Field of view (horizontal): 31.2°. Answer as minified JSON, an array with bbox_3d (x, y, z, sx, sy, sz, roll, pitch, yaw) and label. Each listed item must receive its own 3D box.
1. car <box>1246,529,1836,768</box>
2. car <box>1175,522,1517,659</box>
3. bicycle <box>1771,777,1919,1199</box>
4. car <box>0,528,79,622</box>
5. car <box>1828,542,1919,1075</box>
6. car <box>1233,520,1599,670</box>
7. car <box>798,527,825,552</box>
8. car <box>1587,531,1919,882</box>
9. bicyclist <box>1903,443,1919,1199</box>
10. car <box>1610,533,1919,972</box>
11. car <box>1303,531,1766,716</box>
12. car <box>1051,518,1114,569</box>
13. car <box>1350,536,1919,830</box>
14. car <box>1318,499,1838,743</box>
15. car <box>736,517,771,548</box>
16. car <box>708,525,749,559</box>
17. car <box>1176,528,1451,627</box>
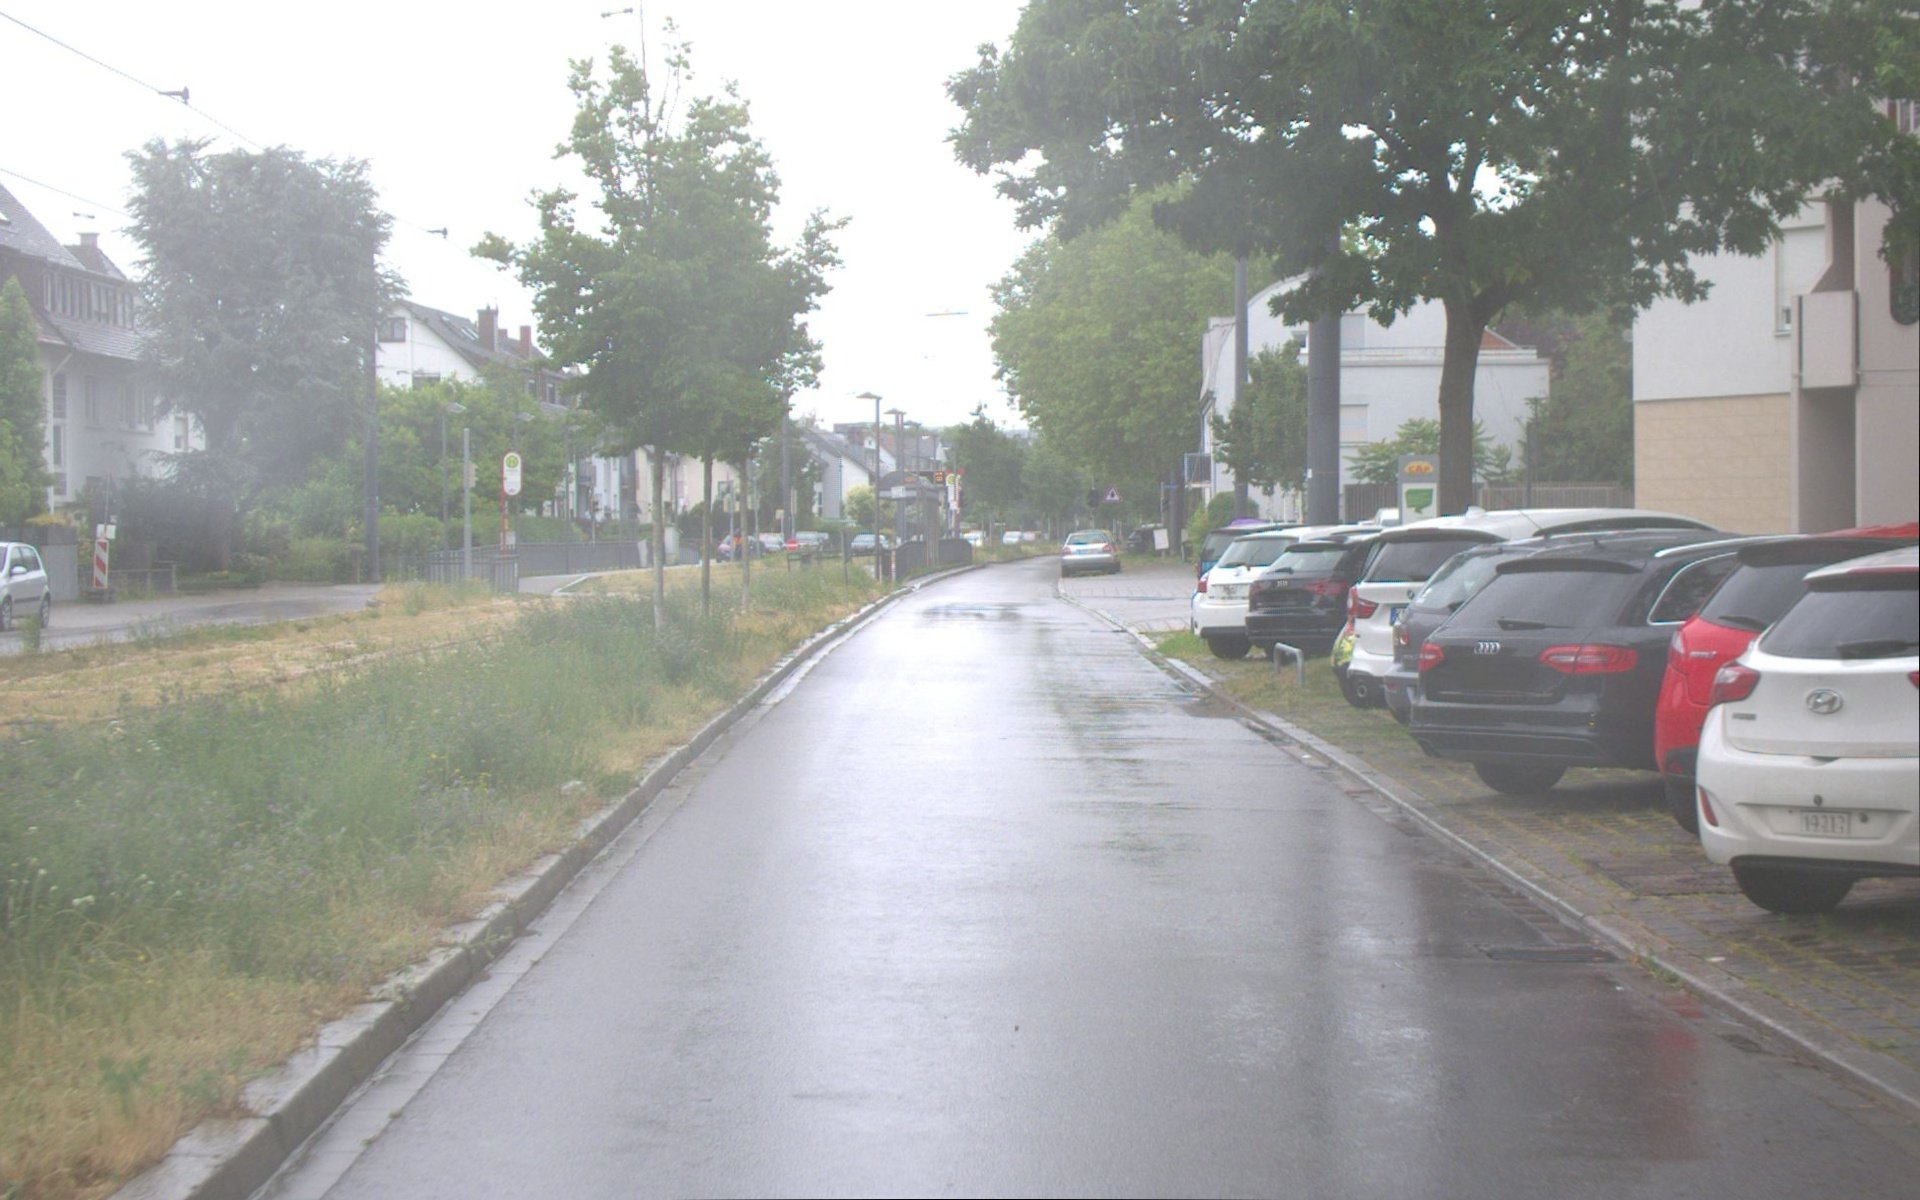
[{"bbox_3d":[3.969,0.266,23.191,4.029,1.438,1.585,-2,2,-37],"label":"car"},{"bbox_3d":[4.601,-0.140,40.739,4.029,1.508,1.585,-2,2,-37],"label":"car"},{"bbox_3d":[2.094,0.921,5.559,0.809,1.093,2.518,-1,1,-4],"label":"bicycle"},{"bbox_3d":[-16.348,-0.448,57.422,1.897,1.464,4.687,2,1,2],"label":"car"},{"bbox_3d":[4.803,0.553,10.481,4.214,1.514,1.877,-2,2,-35],"label":"car"},{"bbox_3d":[5.048,-0.090,37.819,4.029,1.535,1.585,-2,2,-37],"label":"car"},{"bbox_3d":[-10.057,-4.126,232.938,1.682,1.666,4.000,-1,1,-1],"label":"car"},{"bbox_3d":[5.091,0.419,16.851,4.028,1.514,1.585,-2,2,-35],"label":"car"},{"bbox_3d":[2.086,0.446,5.464,0.809,1.428,1.060,-1,1,-4],"label":"bicyclist"},{"bbox_3d":[4.605,0.484,13.708,4.028,1.514,1.585,-2,2,-35],"label":"car"},{"bbox_3d":[4.976,0.153,29.527,4.029,1.440,1.585,-2,2,-37],"label":"car"},{"bbox_3d":[3.923,-1.830,110.824,1.833,1.580,4.000,-1,1,-1],"label":"car"},{"bbox_3d":[4.098,0.387,19.337,4.030,1.438,1.584,-2,2,-44],"label":"car"},{"bbox_3d":[4.757,0.103,26.202,4.029,1.697,1.585,-2,2,-37],"label":"car"},{"bbox_3d":[-11.204,-3.687,187.084,1.682,1.666,4.000,-1,1,-1],"label":"car"},{"bbox_3d":[-11.859,-2.998,176.394,1.843,1.666,4.000,-1,1,-1],"label":"car"},{"bbox_3d":[5.248,-0.359,50.753,4.029,1.365,1.585,-2,2,-37],"label":"car"}]
